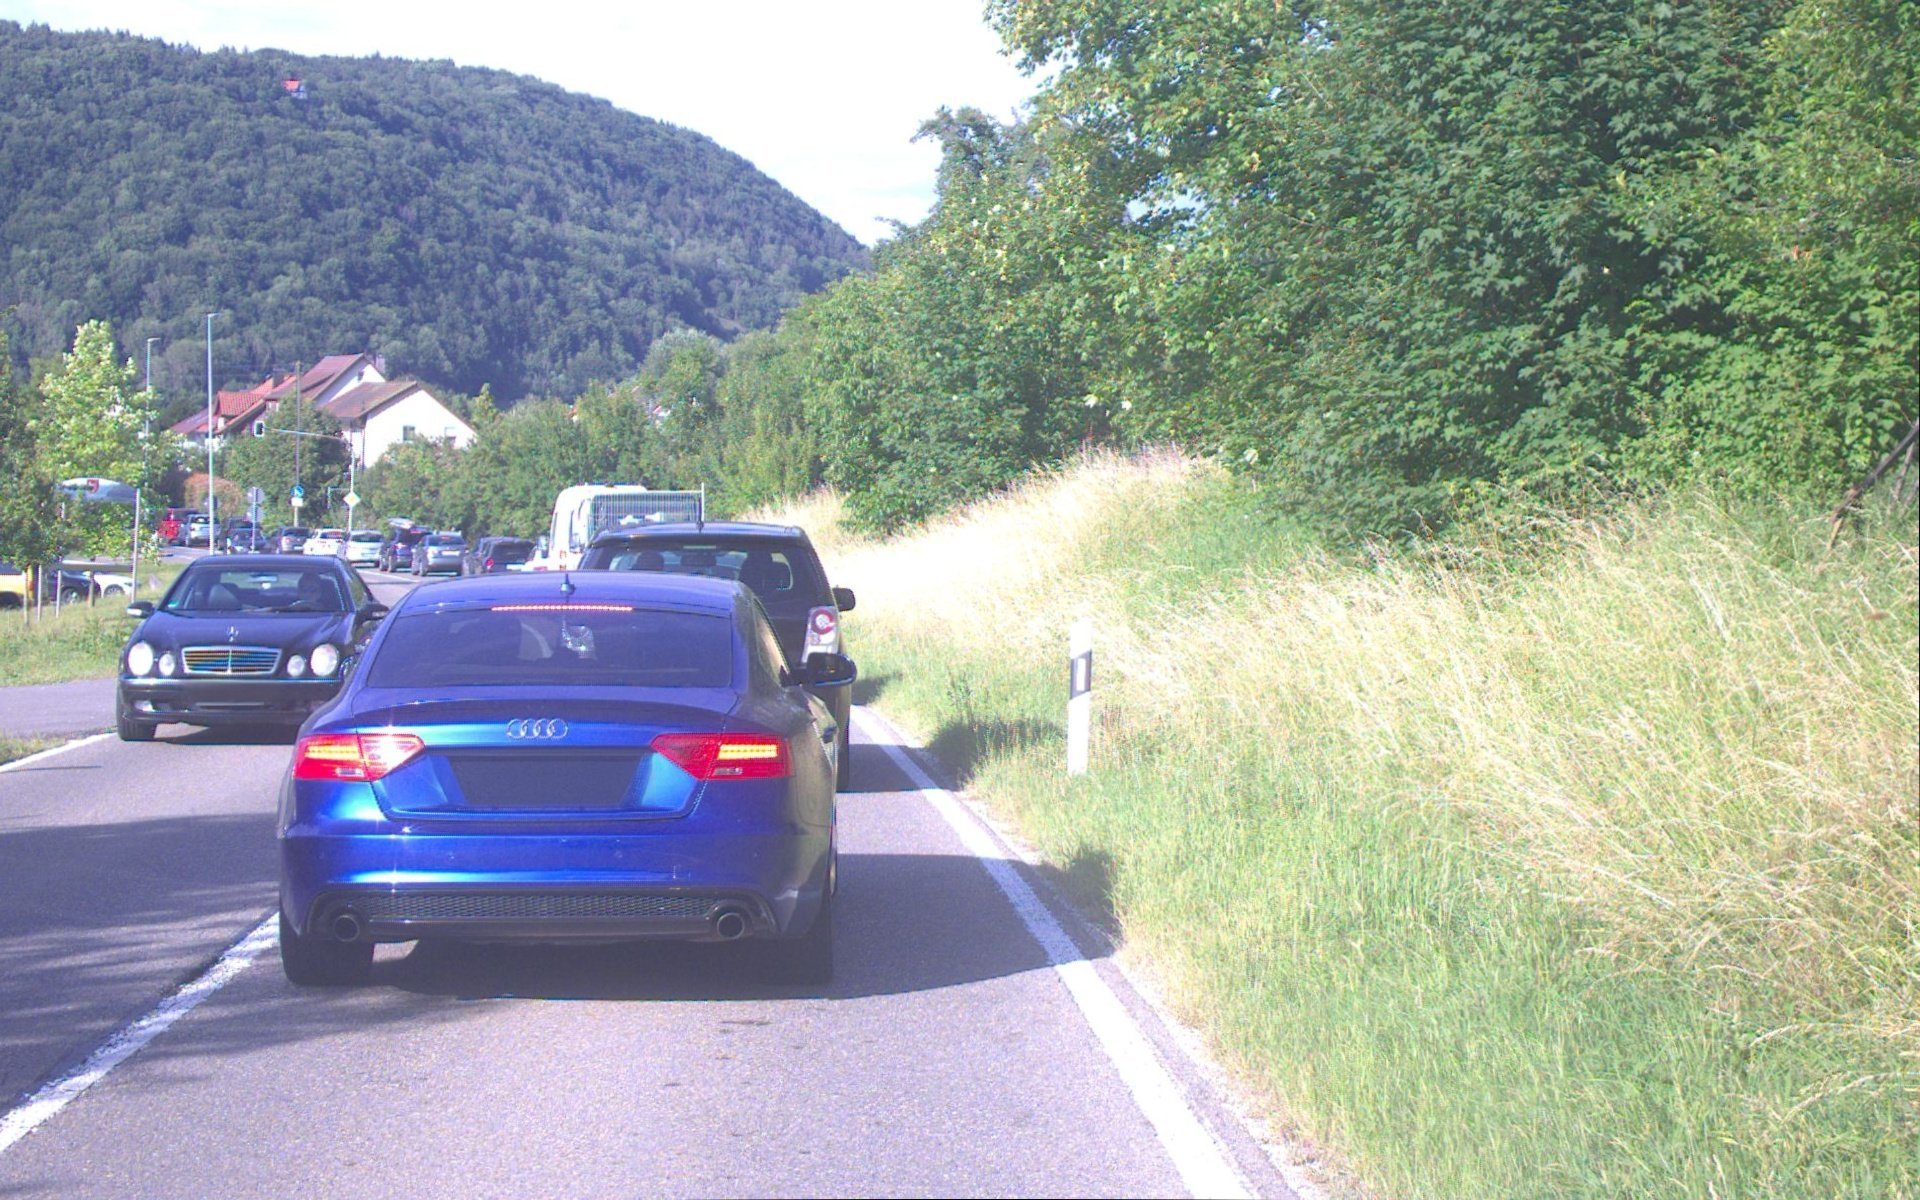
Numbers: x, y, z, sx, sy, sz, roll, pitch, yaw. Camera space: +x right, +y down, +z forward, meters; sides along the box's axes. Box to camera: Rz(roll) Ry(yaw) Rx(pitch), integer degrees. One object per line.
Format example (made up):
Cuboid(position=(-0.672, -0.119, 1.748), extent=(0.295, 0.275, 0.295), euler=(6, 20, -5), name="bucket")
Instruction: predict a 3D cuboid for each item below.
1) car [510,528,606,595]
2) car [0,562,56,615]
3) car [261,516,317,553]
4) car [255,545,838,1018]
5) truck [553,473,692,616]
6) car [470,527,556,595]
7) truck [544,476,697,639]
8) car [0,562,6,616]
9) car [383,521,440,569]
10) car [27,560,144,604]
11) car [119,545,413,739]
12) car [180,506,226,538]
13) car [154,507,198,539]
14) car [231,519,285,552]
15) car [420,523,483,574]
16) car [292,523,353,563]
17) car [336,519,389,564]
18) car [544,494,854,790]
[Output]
Cuboid(position=(-9.239, -0.883, 78.808), extent=(1.845, 1.477, 4.001), euler=(0, 1, -12), name="car")
Cuboid(position=(-31.875, -0.386, 112.864), extent=(3.986, 1.705, 2.000), euler=(0, 1, -5), name="car")
Cuboid(position=(-31.253, -3.041, 160.089), extent=(1.845, 1.706, 4.001), euler=(0, 1, -21), name="car")
Cuboid(position=(-1.340, 0.533, 12.370), extent=(1.754, 1.425, 3.847), euler=(0, 1, -3), name="car")
Cuboid(position=(-6.474, -1.043, 65.277), extent=(2.229, 2.561, 6.709), euler=(0, 1, -9), name="truck")
Cuboid(position=(-11.676, -1.024, 89.679), extent=(1.845, 1.706, 4.001), euler=(0, 1, -13), name="car")
Cuboid(position=(-5.596, -0.707, 57.350), extent=(2.229, 2.561, 6.104), euler=(0, 1, -3), name="truck")
Cuboid(position=(-32.831, -0.366, 110.253), extent=(3.986, 1.705, 2.000), euler=(0, 1, -5), name="car")
Cuboid(position=(-20.159, -2.015, 126.273), extent=(1.845, 1.706, 4.001), euler=(0, 1, -12), name="car")
Cuboid(position=(-32.376, -0.670, 127.328), extent=(3.986, 1.573, 1.753), euler=(0, 1, -5), name="car")
Cuboid(position=(-5.188, 0.271, 26.171), extent=(1.594, 1.349, 4.204), euler=(0, 1, -3), name="car")
Cuboid(position=(-40.880, -4.197, 185.654), extent=(1.845, 1.706, 4.001), euler=(0, 1, -21), name="car")
Cuboid(position=(-44.098, -4.316, 193.346), extent=(1.845, 1.706, 4.001), euler=(0, 1, -21), name="car")
Cuboid(position=(-30.868, -2.819, 151.019), extent=(1.703, 1.425, 4.052), euler=(0, 1, -20), name="car")
Cuboid(position=(-17.545, -1.761, 118.516), extent=(1.845, 1.706, 4.001), euler=(0, 1, -12), name="car")
Cuboid(position=(-27.461, -2.439, 147.925), extent=(1.845, 1.706, 4.001), euler=(0, 1, -21), name="car")
Cuboid(position=(-23.595, -2.296, 135.689), extent=(1.845, 1.706, 4.001), euler=(0, 1, -12), name="car")
Cuboid(position=(-1.576, 0.220, 21.557), extent=(1.754, 1.675, 3.847), euler=(0, 1, -3), name="car")
